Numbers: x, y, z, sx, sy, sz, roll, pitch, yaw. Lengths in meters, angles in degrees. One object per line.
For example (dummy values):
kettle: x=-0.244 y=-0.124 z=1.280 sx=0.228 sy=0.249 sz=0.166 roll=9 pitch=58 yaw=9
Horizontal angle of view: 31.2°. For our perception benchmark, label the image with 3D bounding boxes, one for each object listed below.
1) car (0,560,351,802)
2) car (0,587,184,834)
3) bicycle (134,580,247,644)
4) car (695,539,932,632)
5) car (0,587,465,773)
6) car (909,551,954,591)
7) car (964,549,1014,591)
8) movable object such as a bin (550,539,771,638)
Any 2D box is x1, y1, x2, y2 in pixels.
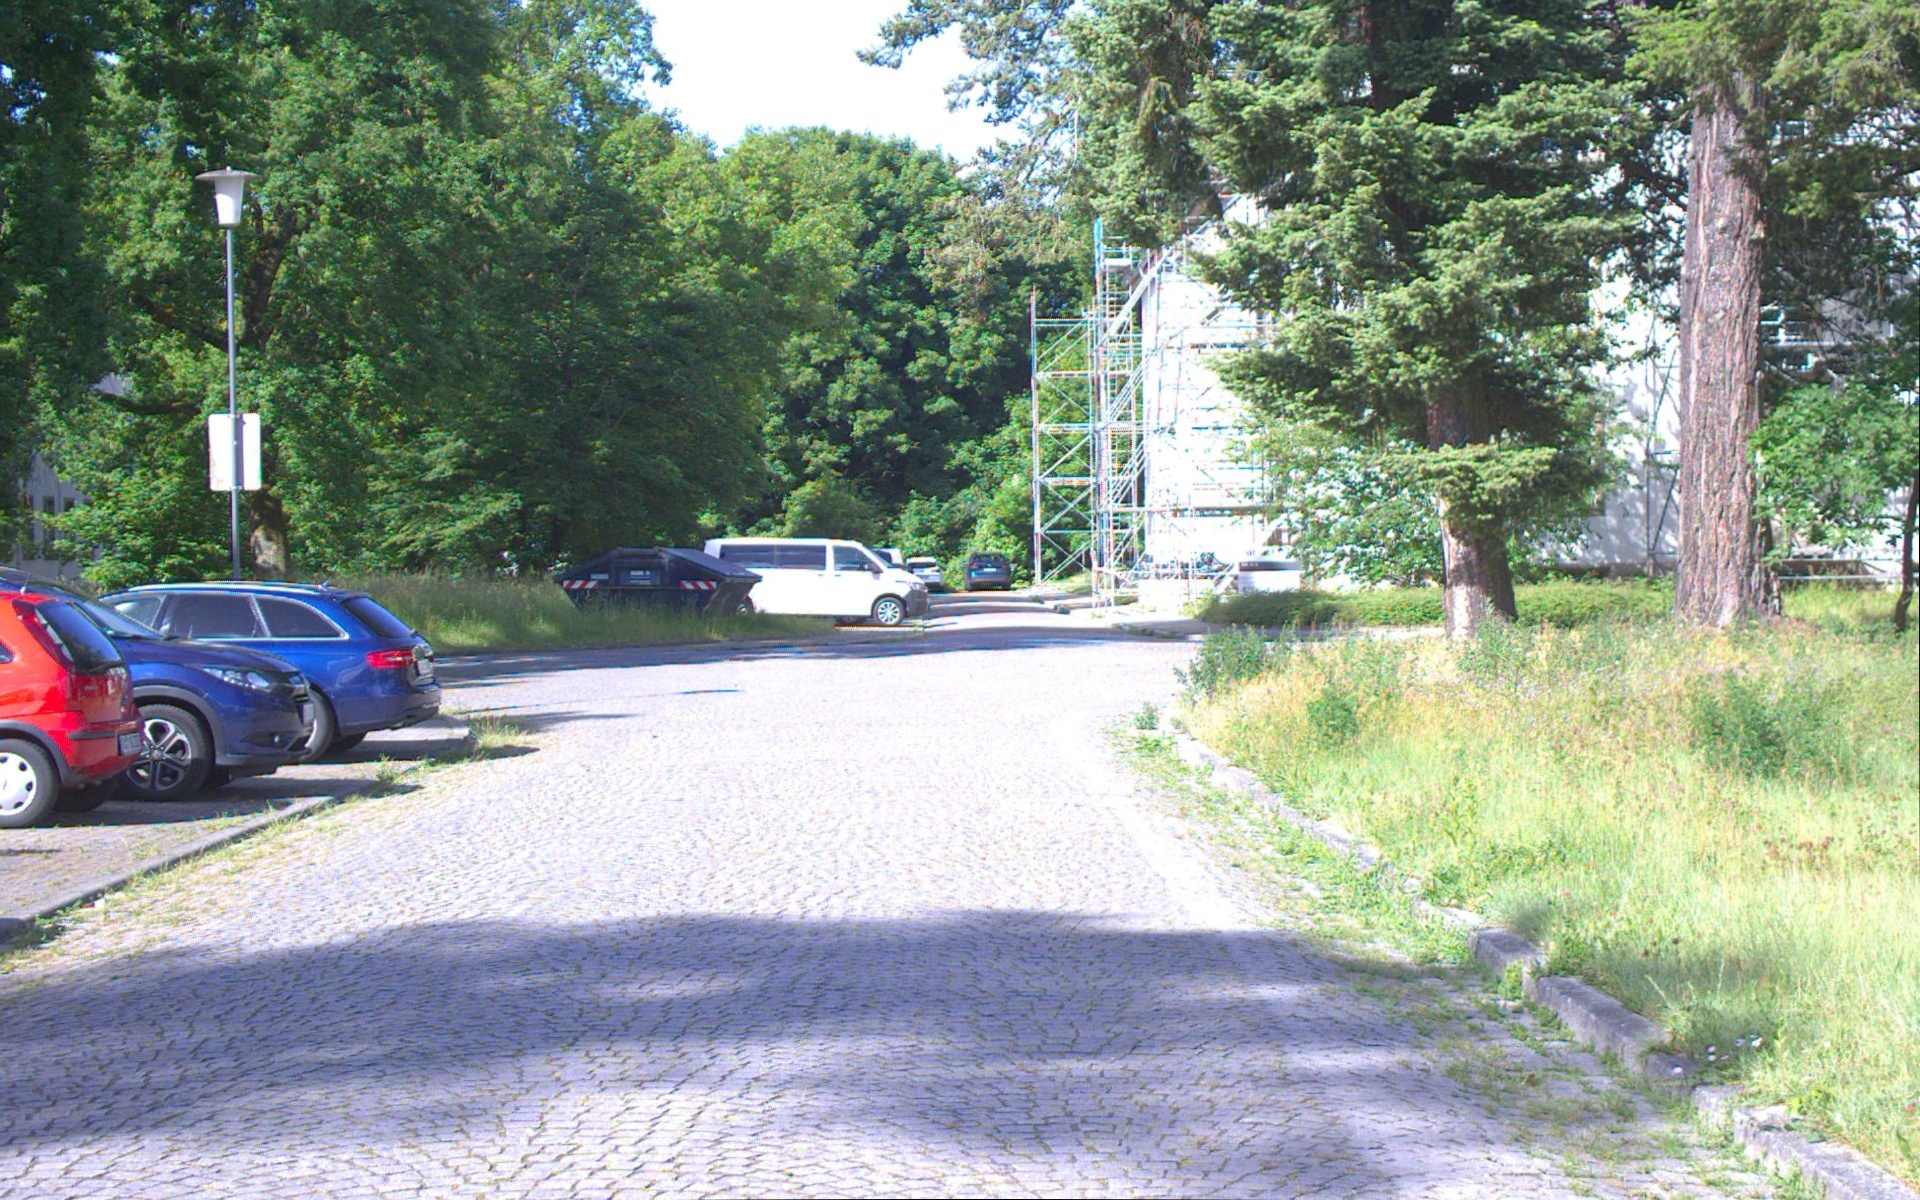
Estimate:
car: x=-6.424 y=0.526 z=23.652 sx=4.135 sy=1.574 sz=1.884 roll=0 pitch=1 yaw=0
car: x=-6.979 y=0.654 z=21.255 sx=3.923 sy=1.428 sz=1.842 roll=0 pitch=1 yaw=1
bicycle: x=-14.030 y=0.214 z=62.696 sx=1.912 sy=1.054 sz=0.476 roll=-3 pitch=1 yaw=-21
car: x=-3.273 y=-0.343 z=77.226 sx=5.234 sy=2.009 sz=1.950 roll=-1 pitch=1 yaw=-1
car: x=-6.426 y=0.637 z=28.338 sx=4.360 sy=1.440 sz=1.921 roll=0 pitch=1 yaw=2
car: x=-1.208 y=-1.214 z=143.245 sx=1.812 sy=1.574 sz=4.135 roll=-1 pitch=1 yaw=-1
car: x=1.193 y=-1.252 z=143.555 sx=1.971 sy=1.662 sz=4.086 roll=-1 pitch=1 yaw=-1
movable object such as a bin: x=-5.576 y=-0.223 z=64.120 sx=3.568 sy=1.738 sz=2.023 roll=-1 pitch=1 yaw=18
